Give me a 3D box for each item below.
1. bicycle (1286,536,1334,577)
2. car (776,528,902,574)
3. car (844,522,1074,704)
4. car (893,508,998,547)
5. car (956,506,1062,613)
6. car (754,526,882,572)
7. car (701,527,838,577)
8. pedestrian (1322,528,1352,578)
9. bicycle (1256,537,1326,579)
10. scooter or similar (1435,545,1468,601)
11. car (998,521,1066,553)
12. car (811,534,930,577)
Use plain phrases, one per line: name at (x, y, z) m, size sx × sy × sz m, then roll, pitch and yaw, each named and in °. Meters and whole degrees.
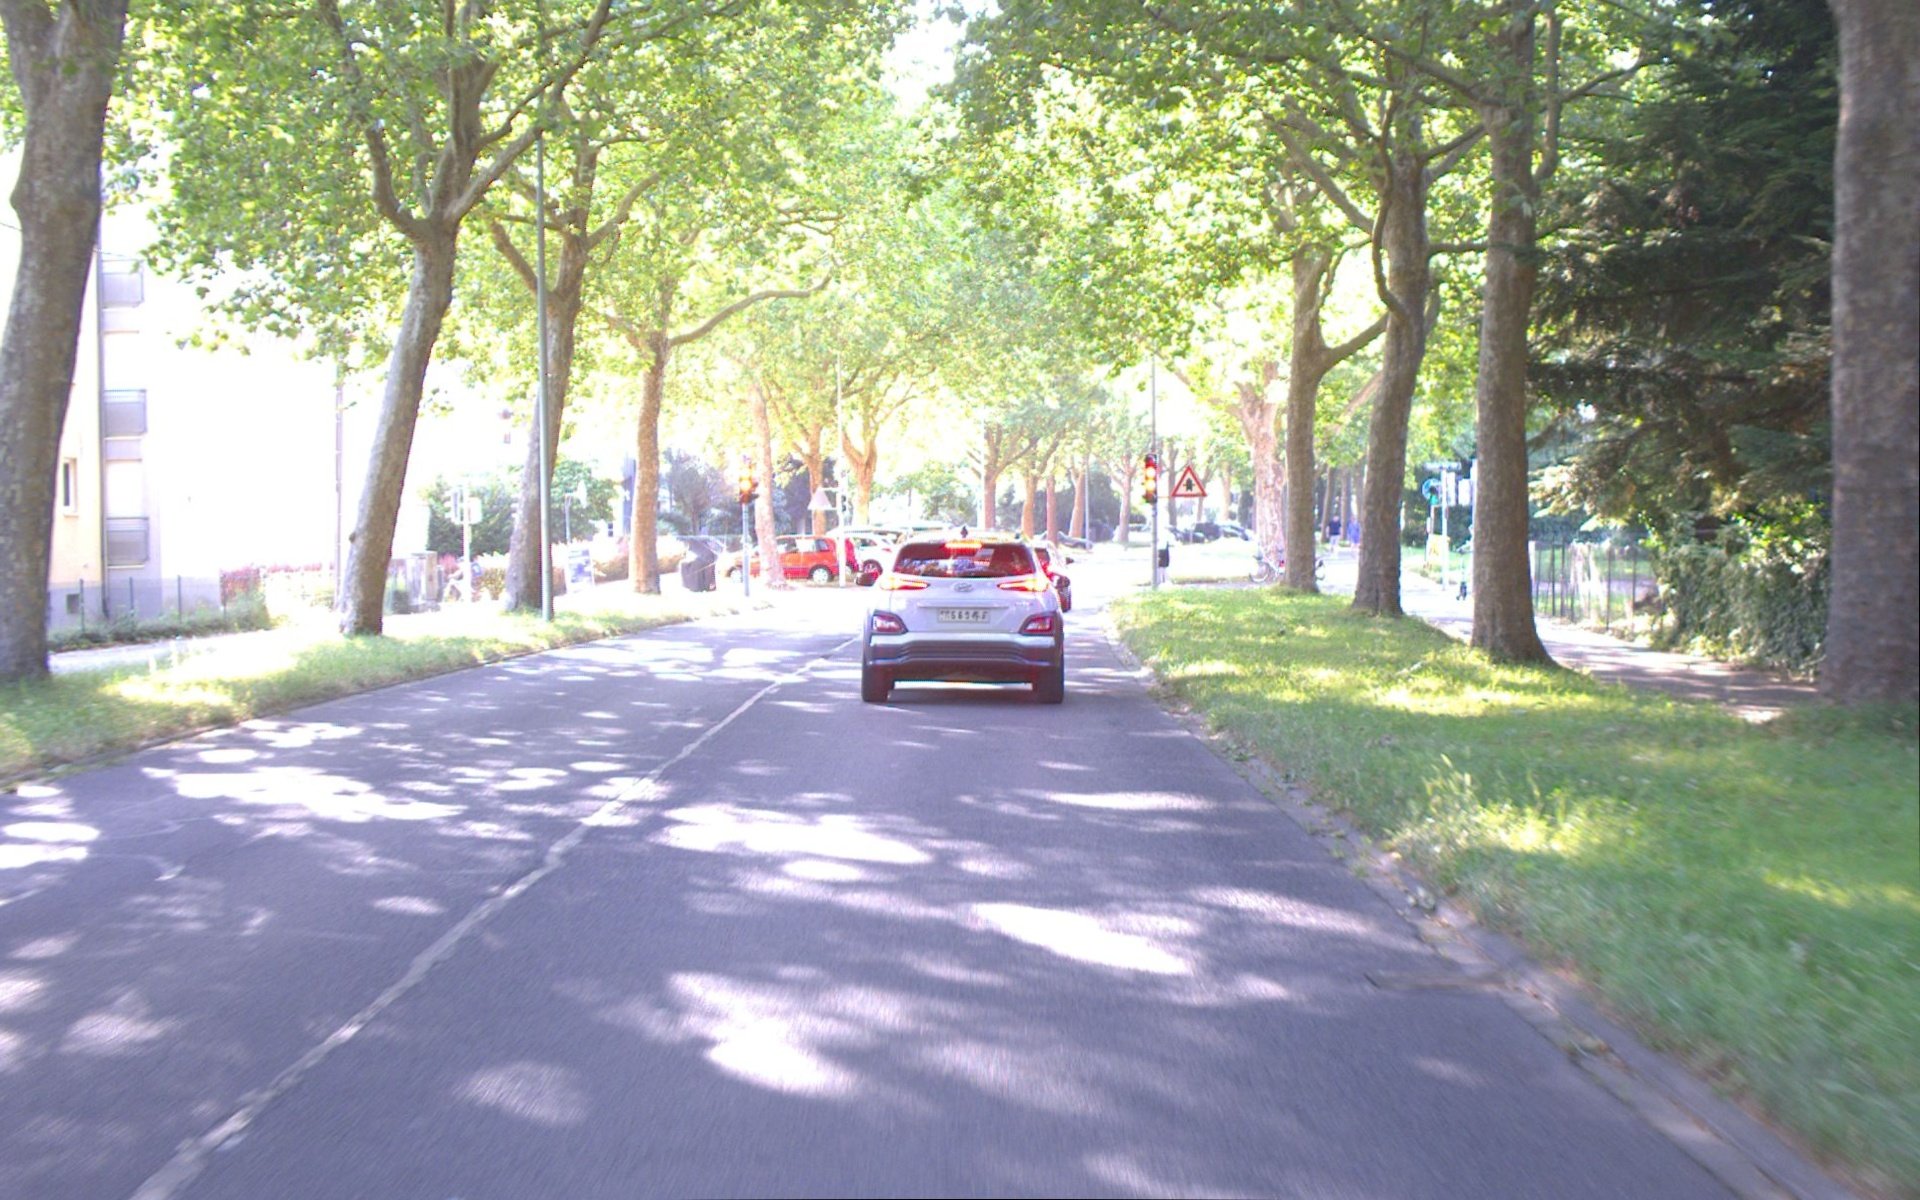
bicycle at (10.048, -1.254, 98.812) m, size 0.603 × 1.179 × 2.119 m, roll 0°, pitch 1°, yaw -17°
car at (-4.043, -1.639, 115.119) m, size 3.988 × 1.473 × 2.000 m, roll 1°, pitch 1°, yaw 5°
car at (0.054, 0.084, 32.026) m, size 1.993 × 1.569 × 4.000 m, roll 1°, pitch 1°, yaw 2°
car at (-0.538, -2.829, 134.579) m, size 3.987 × 1.473 × 2.000 m, roll 1°, pitch 1°, yaw 3°
car at (0.962, -0.805, 69.016) m, size 1.993 × 2.007 × 4.000 m, roll 2°, pitch 0°, yaw 0°
car at (-4.643, -1.672, 112.676) m, size 3.987 × 1.473 × 2.000 m, roll 1°, pitch 1°, yaw 3°
car at (-5.805, -1.480, 105.173) m, size 3.987 × 1.473 × 2.000 m, roll 1°, pitch 1°, yaw 3°
pedestrian at (15.482, -1.917, 141.112) m, size 1.095 × 2.007 × 1.104 m, roll 3°, pitch 1°, yaw 9°
bicycle at (9.392, -1.194, 97.677) m, size 0.603 × 1.160 × 2.149 m, roll 0°, pitch 1°, yaw -41°
scooter or similar at (11.390, -0.630, 79.654) m, size 0.549 × 1.254 × 2.313 m, roll 1°, pitch 1°, yaw 3°
car at (4.116, -3.588, 196.310) m, size 3.668 × 1.802 × 1.749 m, roll 0°, pitch 1°, yaw -7°
car at (-3.123, -1.556, 119.995) m, size 3.987 × 1.473 × 2.000 m, roll 1°, pitch 1°, yaw 3°
